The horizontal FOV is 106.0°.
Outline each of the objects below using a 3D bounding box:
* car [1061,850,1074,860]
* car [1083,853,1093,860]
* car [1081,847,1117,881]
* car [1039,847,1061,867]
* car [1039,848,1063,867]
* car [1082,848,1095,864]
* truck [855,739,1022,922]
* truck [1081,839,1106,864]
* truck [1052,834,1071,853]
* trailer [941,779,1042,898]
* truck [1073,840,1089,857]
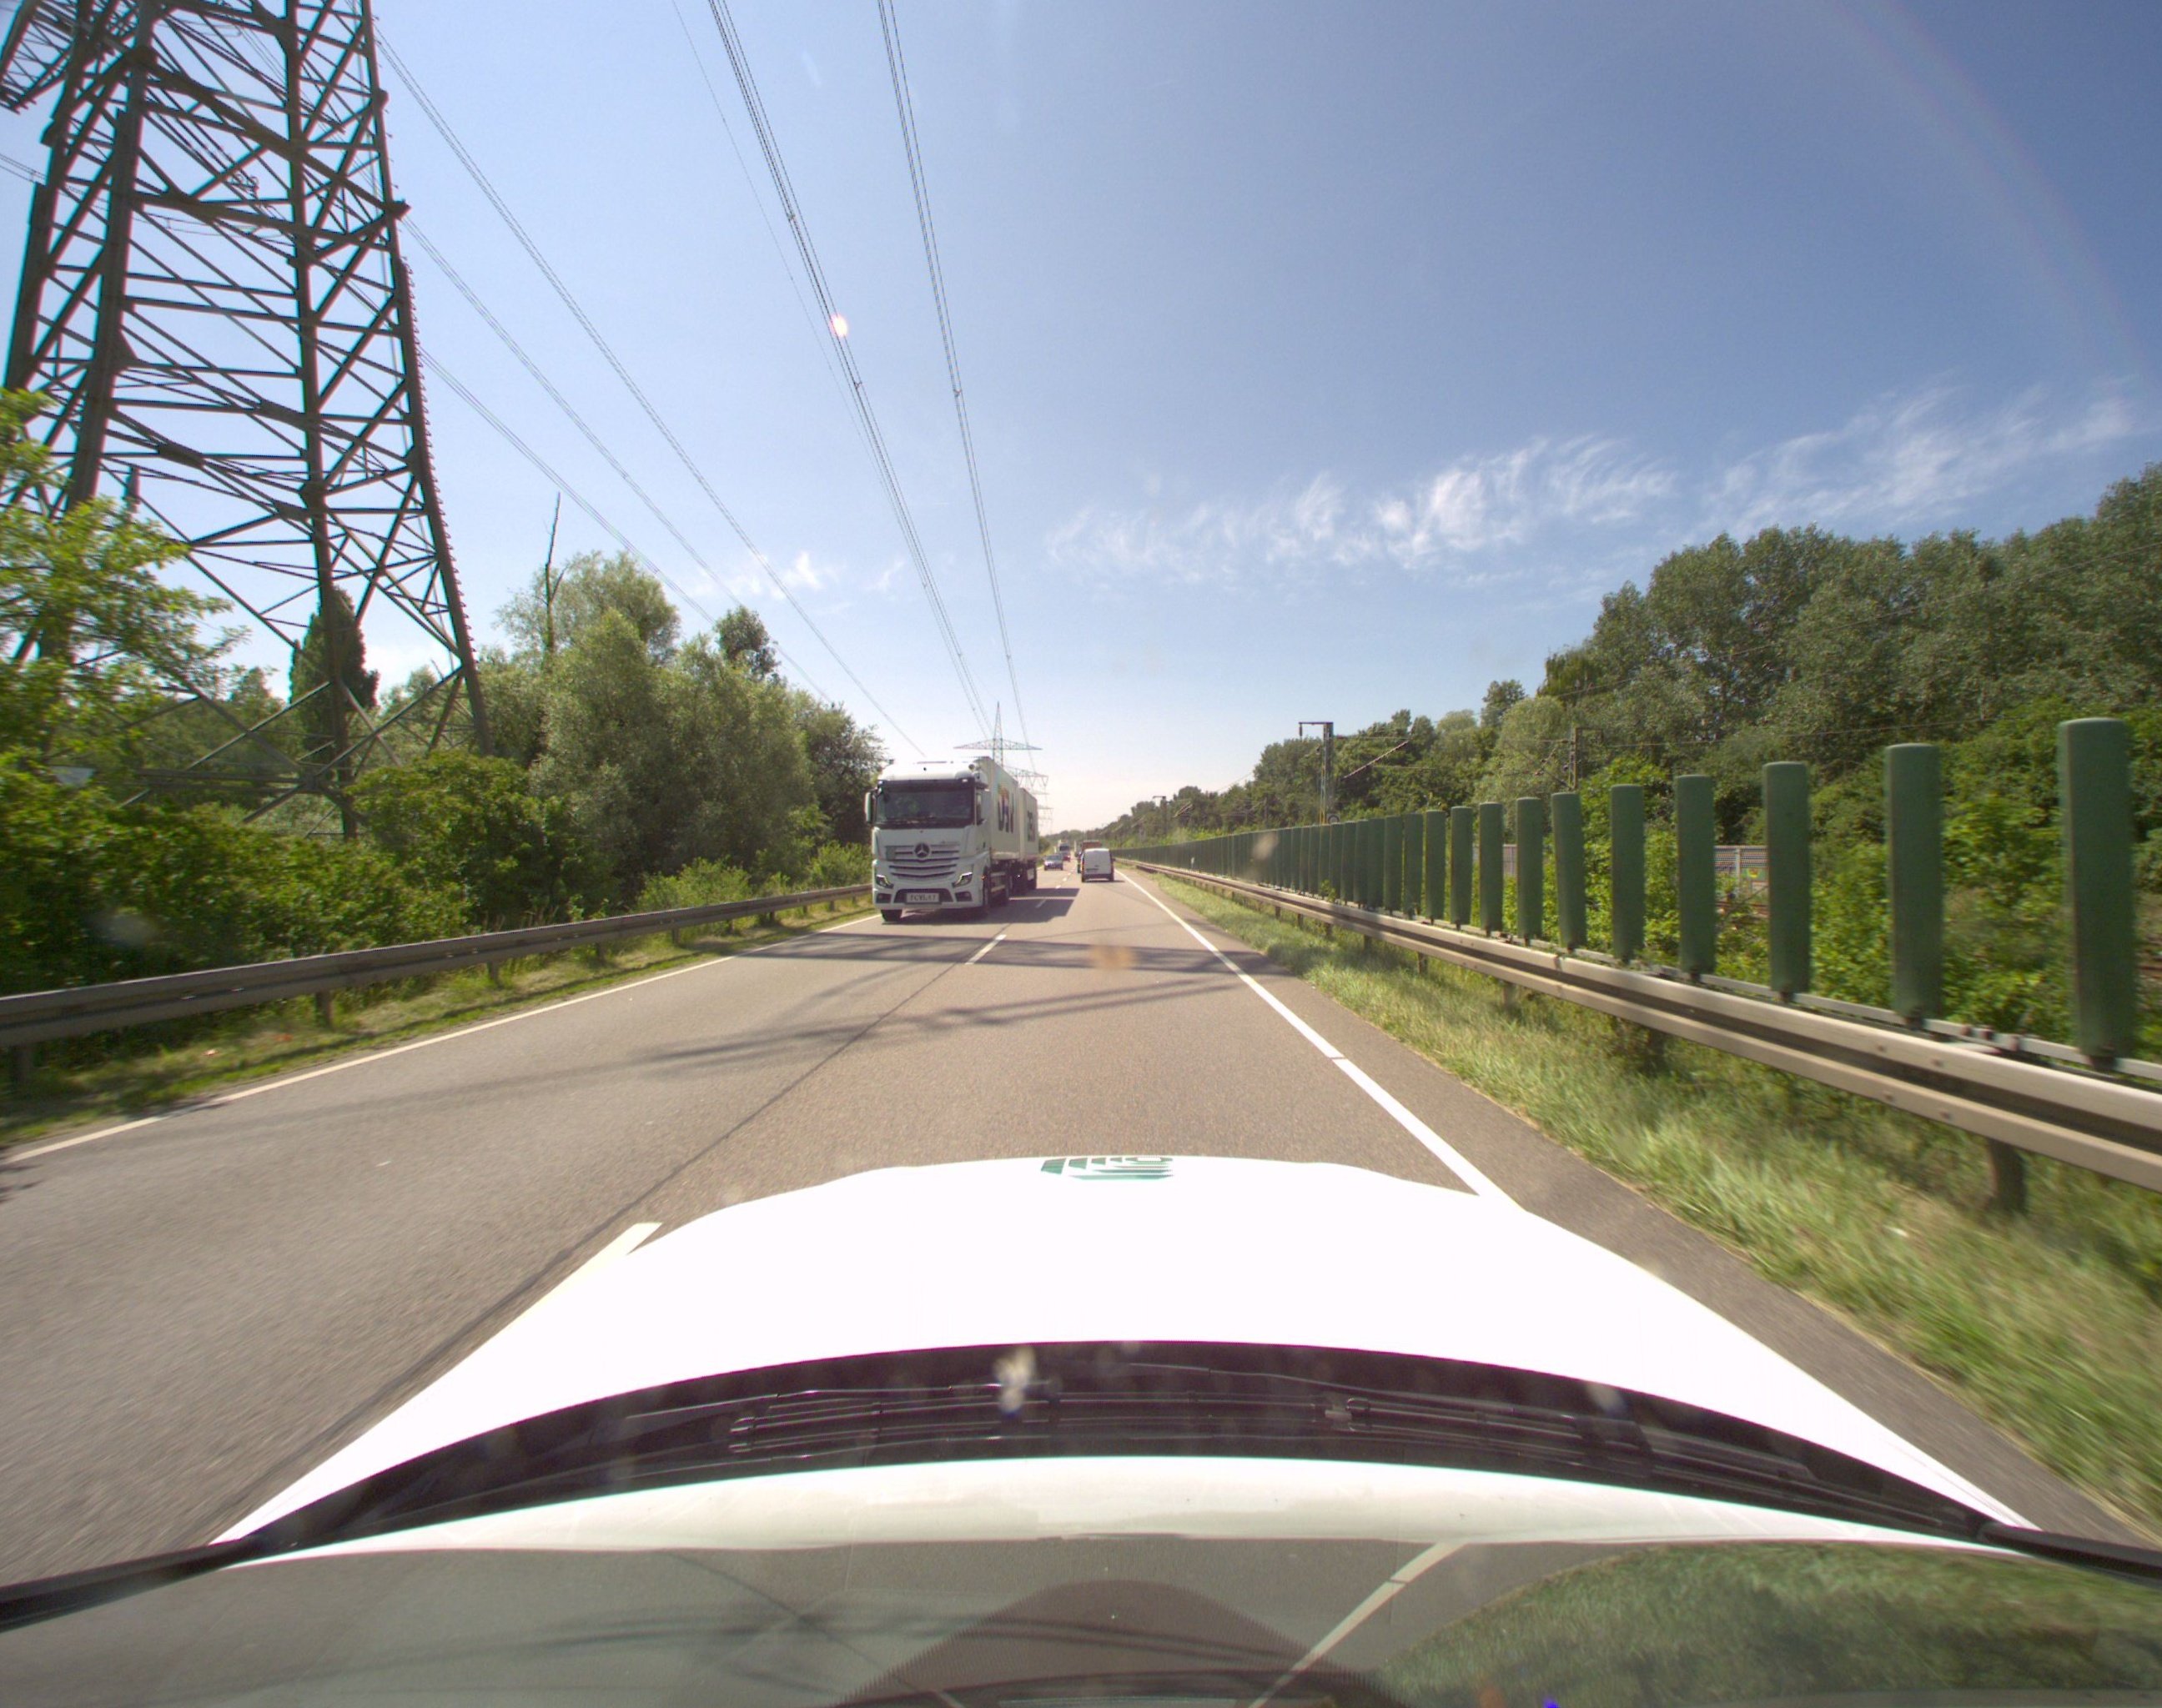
[{"bbox_3d":[-2.159,0.153,130.464,1.986,1.526,4.001,-1,0,1],"label":"car"},{"bbox_3d":[1.395,0.490,168.949,1.987,1.526,3.999,-1,0,0],"label":"car"},{"bbox_3d":[0.950,0.524,44.470,1.869,1.741,3.999,0,0,-1],"label":"car"},{"bbox_3d":[-2.867,0.282,76.185,1.987,1.741,3.999,-1,0,-1],"label":"car"},{"bbox_3d":[-2.805,0.294,76.184,1.986,1.741,4.001,-1,0,1],"label":"car"},{"bbox_3d":[0.989,0.270,106.876,1.757,2.013,4.000,-1,0,0],"label":"car"},{"bbox_3d":[-3.547,-0.543,23.158,2.733,4.042,9.667,-2,0,1],"label":"truck"},{"bbox_3d":[1.774,-0.451,118.182,3.286,3.171,14.406,2,1,0],"label":"truck"},{"bbox_3d":[-4.088,-2.375,175.560,3.391,3.854,16.819,2,1,0],"label":"truck"},{"bbox_3d":[-3.314,-0.542,32.602,2.709,4.042,9.077,-2,0,1],"label":"trailer"},{"bbox_3d":[0.022,-1.426,201.808,3.393,3.854,16.808,2,1,-2],"label":"truck"}]
